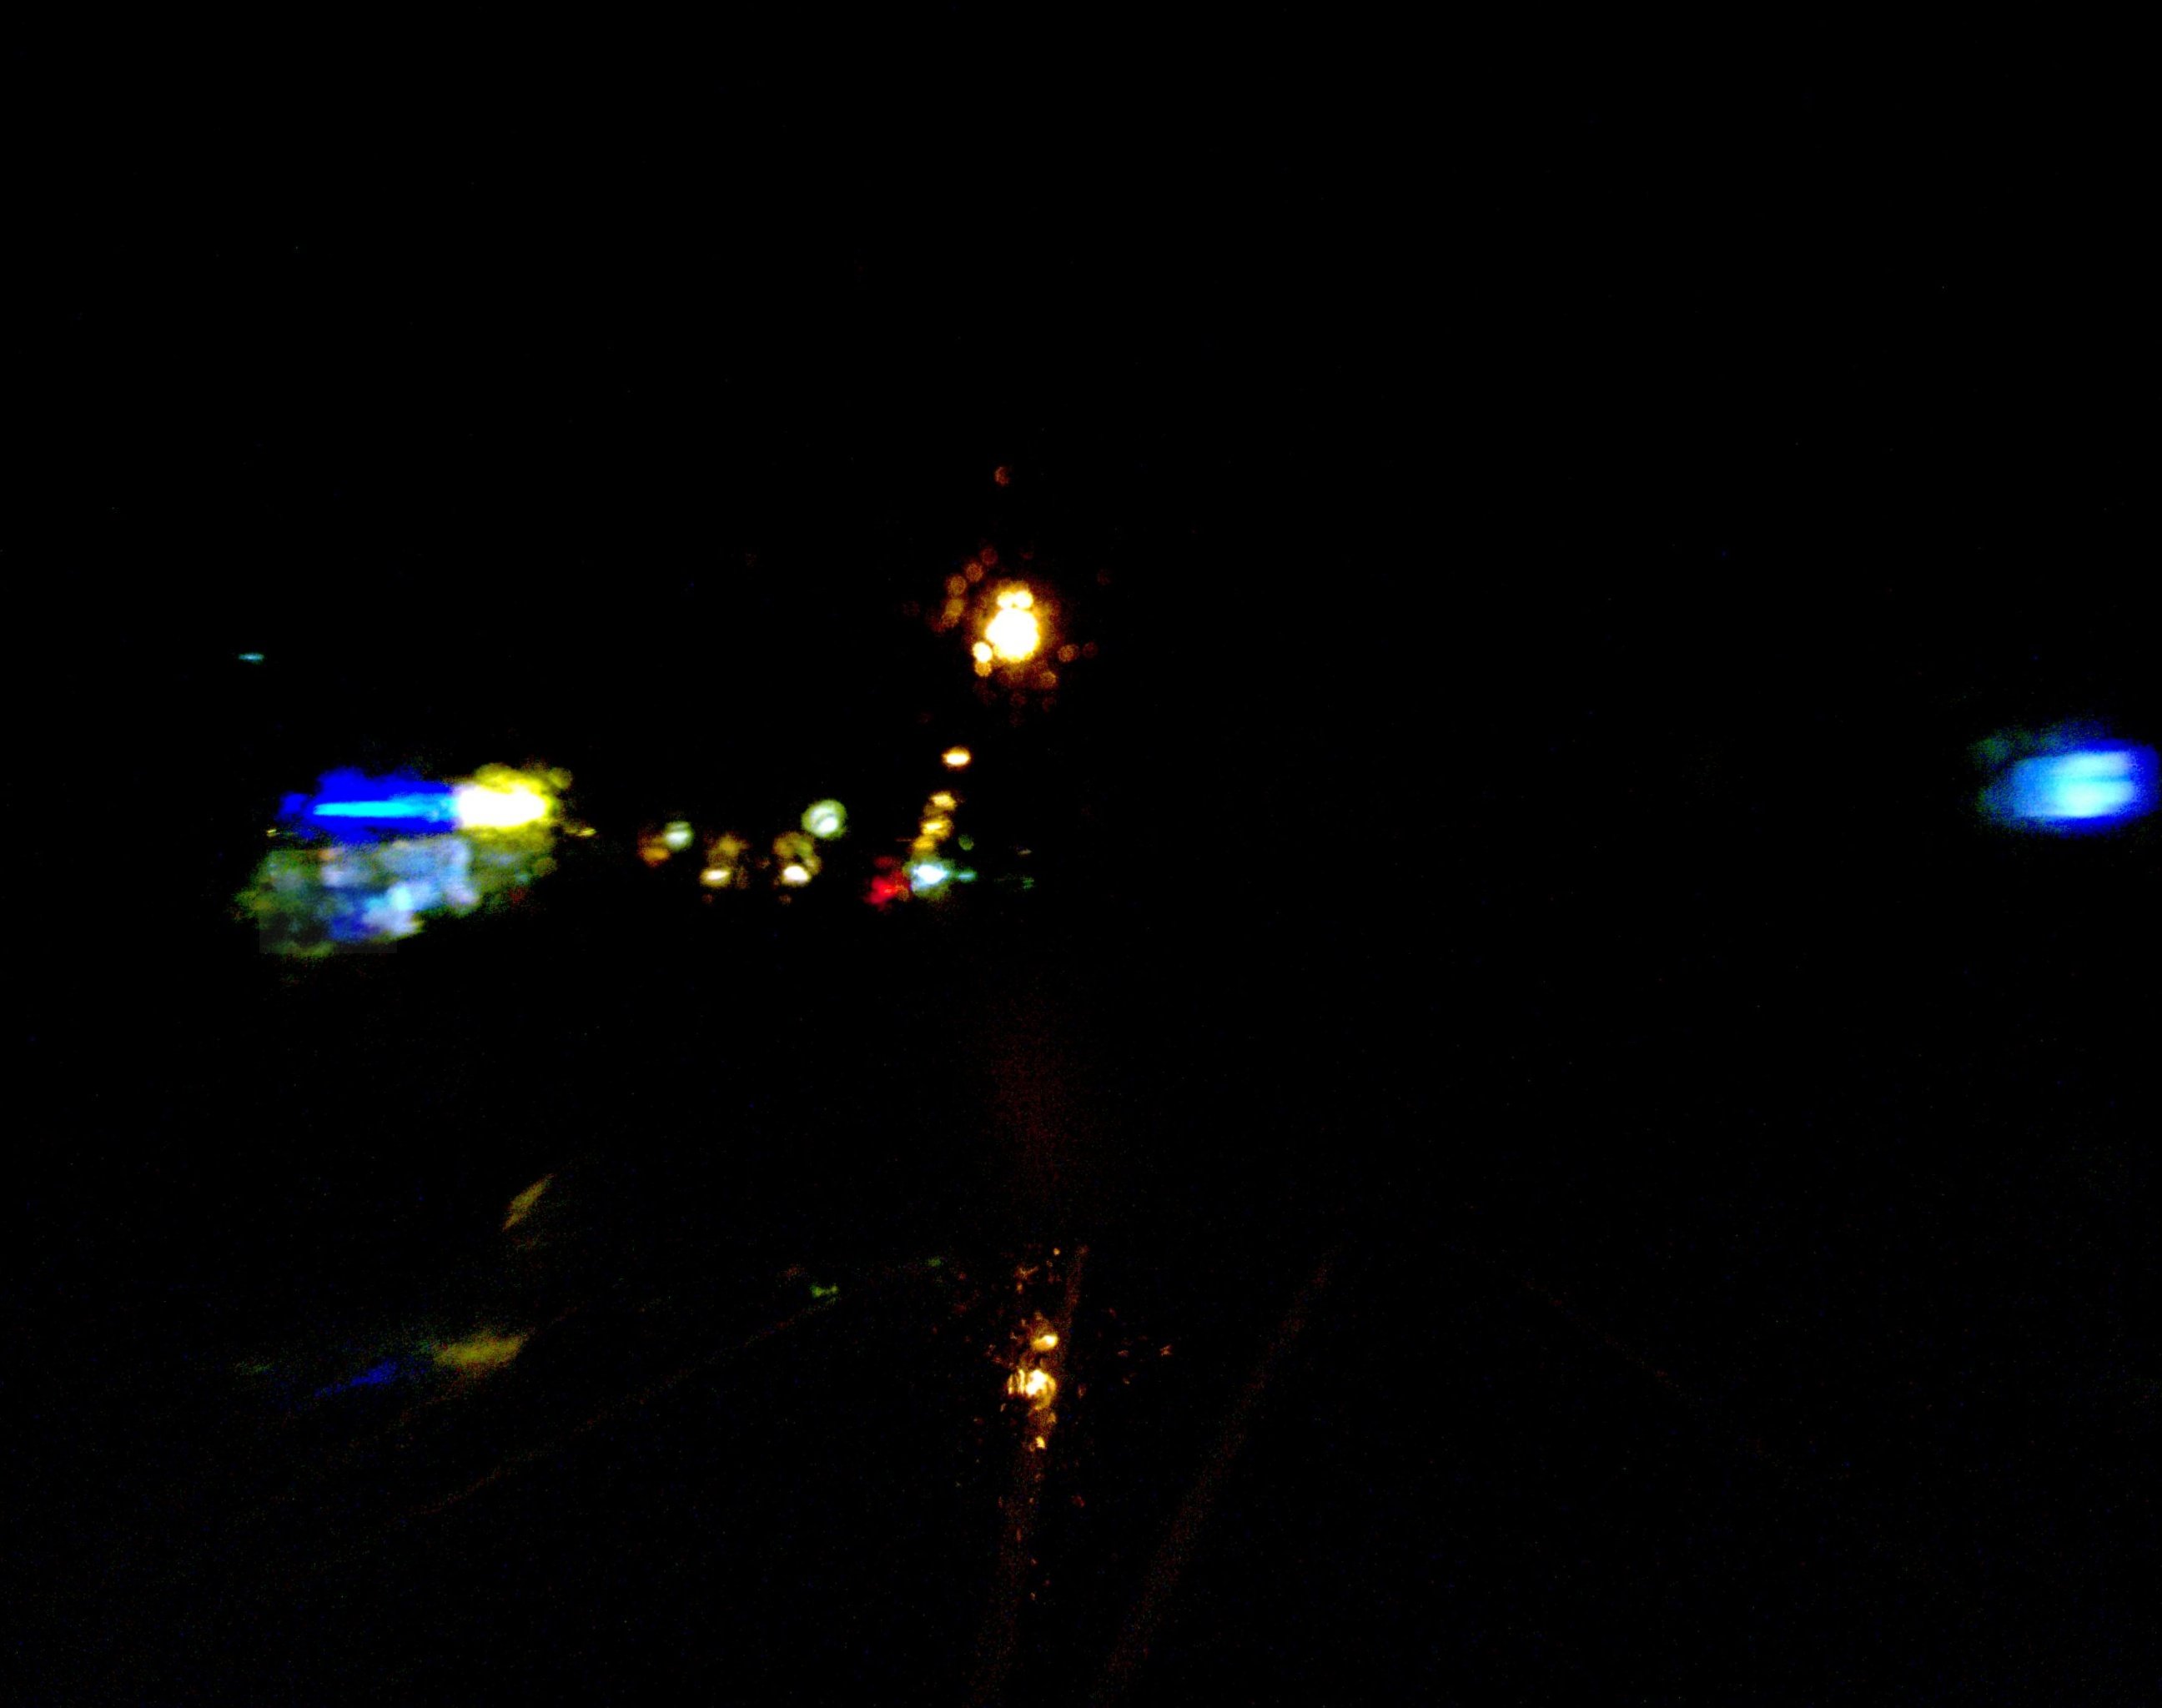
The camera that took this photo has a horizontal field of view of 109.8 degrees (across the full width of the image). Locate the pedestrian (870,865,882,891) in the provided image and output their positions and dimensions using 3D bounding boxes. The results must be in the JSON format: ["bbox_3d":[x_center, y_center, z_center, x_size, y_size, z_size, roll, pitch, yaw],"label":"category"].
[{"bbox_3d":[-14.204,1.694,52.704,0.705,1.777,0.624,-1,-1,-8],"label":"pedestrian"}]

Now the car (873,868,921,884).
[{"bbox_3d":[-17.883,2.117,73.942,4.529,1.521,1.778,1,0,-12],"label":"car"}]

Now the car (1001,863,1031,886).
[{"bbox_3d":[-4.838,1.479,55.875,1.678,1.482,3.718,-4,0,-12],"label":"car"}]

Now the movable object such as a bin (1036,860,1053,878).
[{"bbox_3d":[-3.050,1.266,63.381,1.105,1.445,1.377,-2,0,-14],"label":"movable object such as a bin"}]

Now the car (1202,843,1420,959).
[{"bbox_3d":[3.976,0.745,14.104,1.839,1.707,4.590,-3,0,-12],"label":"car"}]

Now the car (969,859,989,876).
[{"bbox_3d":[-12.150,1.619,90.377,2.003,1.818,5.202,-3,0,-11],"label":"car"}]

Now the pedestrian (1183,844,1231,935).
[{"bbox_3d":[2.854,0.792,17.248,0.770,1.962,0.657,-5,1,-10],"label":"pedestrian"}]

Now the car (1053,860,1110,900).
[{"bbox_3d":[-0.023,1.123,33.926,1.751,1.579,3.762,-3,0,-12],"label":"car"}]

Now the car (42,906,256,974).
[{"bbox_3d":[-25.370,2.306,20.815,3.416,1.449,1.609,-3,0,-10],"label":"car"}]

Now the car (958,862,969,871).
[{"bbox_3d":[-20.795,2.281,134.437,1.698,1.470,3.382,-3,-1,-8],"label":"car"}]

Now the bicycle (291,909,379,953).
[{"bbox_3d":[-21.633,2.206,22.102,0.702,1.004,1.983,-5,1,-7],"label":"bicycle"}]

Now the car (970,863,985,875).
[{"bbox_3d":[-12.999,1.863,95.192,1.574,1.451,3.716,-3,0,-11],"label":"car"}]

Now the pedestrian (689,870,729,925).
[{"bbox_3d":[-12.211,1.412,24.965,0.865,1.777,1.082,-1,-1,-8],"label":"pedestrian"}]

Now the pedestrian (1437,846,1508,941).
[{"bbox_3d":[6.783,0.672,13.185,0.659,1.543,0.761,-5,2,-26],"label":"pedestrian"}]

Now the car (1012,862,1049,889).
[{"bbox_3d":[-3.329,1.372,49.250,1.780,1.563,4.130,-3,0,-12],"label":"car"}]

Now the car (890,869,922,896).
[{"bbox_3d":[-10.898,1.733,47.097,1.696,1.489,3.886,-2,0,-15],"label":"car"}]

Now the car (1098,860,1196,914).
[{"bbox_3d":[2.004,0.988,24.619,1.839,1.477,4.590,-3,0,-12],"label":"car"}]

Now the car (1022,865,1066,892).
[{"bbox_3d":[-2.219,1.367,43.927,1.828,1.381,4.421,-3,0,-12],"label":"car"}]

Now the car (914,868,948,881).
[{"bbox_3d":[-19.822,2.691,100.324,3.991,1.368,1.756,-4,1,26],"label":"car"}]

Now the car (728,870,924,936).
[{"bbox_3d":[-6.697,1.271,20.130,4.566,1.608,1.929,-1,-1,12],"label":"car"}]

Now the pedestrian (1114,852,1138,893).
[{"bbox_3d":[2.056,0.818,34.898,0.745,1.794,0.985,-5,1,-8],"label":"pedestrian"}]

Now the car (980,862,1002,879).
[{"bbox_3d":[-9.331,1.671,78.316,1.773,1.474,4.768,-6,0,-11],"label":"car"}]

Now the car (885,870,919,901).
[{"bbox_3d":[-9.798,1.704,41.778,1.695,1.489,3.887,-2,0,-12],"label":"car"}]

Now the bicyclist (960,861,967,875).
[{"bbox_3d":[-13.329,1.571,86.075,0.721,1.547,0.894,-2,0,-12],"label":"bicyclist"}]

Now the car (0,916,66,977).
[{"bbox_3d":[-29.665,2.512,19.668,3.980,1.449,1.609,-3,0,-10],"label":"car"}]

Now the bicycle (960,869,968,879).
[{"bbox_3d":[-13.319,2.287,86.131,0.730,1.066,2.346,-2,0,-12],"label":"bicycle"}]

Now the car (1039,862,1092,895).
[{"bbox_3d":[-0.857,1.202,38.561,1.839,1.472,4.302,-3,0,-12],"label":"car"}]

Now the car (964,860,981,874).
[{"bbox_3d":[-15.043,1.807,105.124,1.909,1.818,4.824,-3,0,-11],"label":"car"}]
